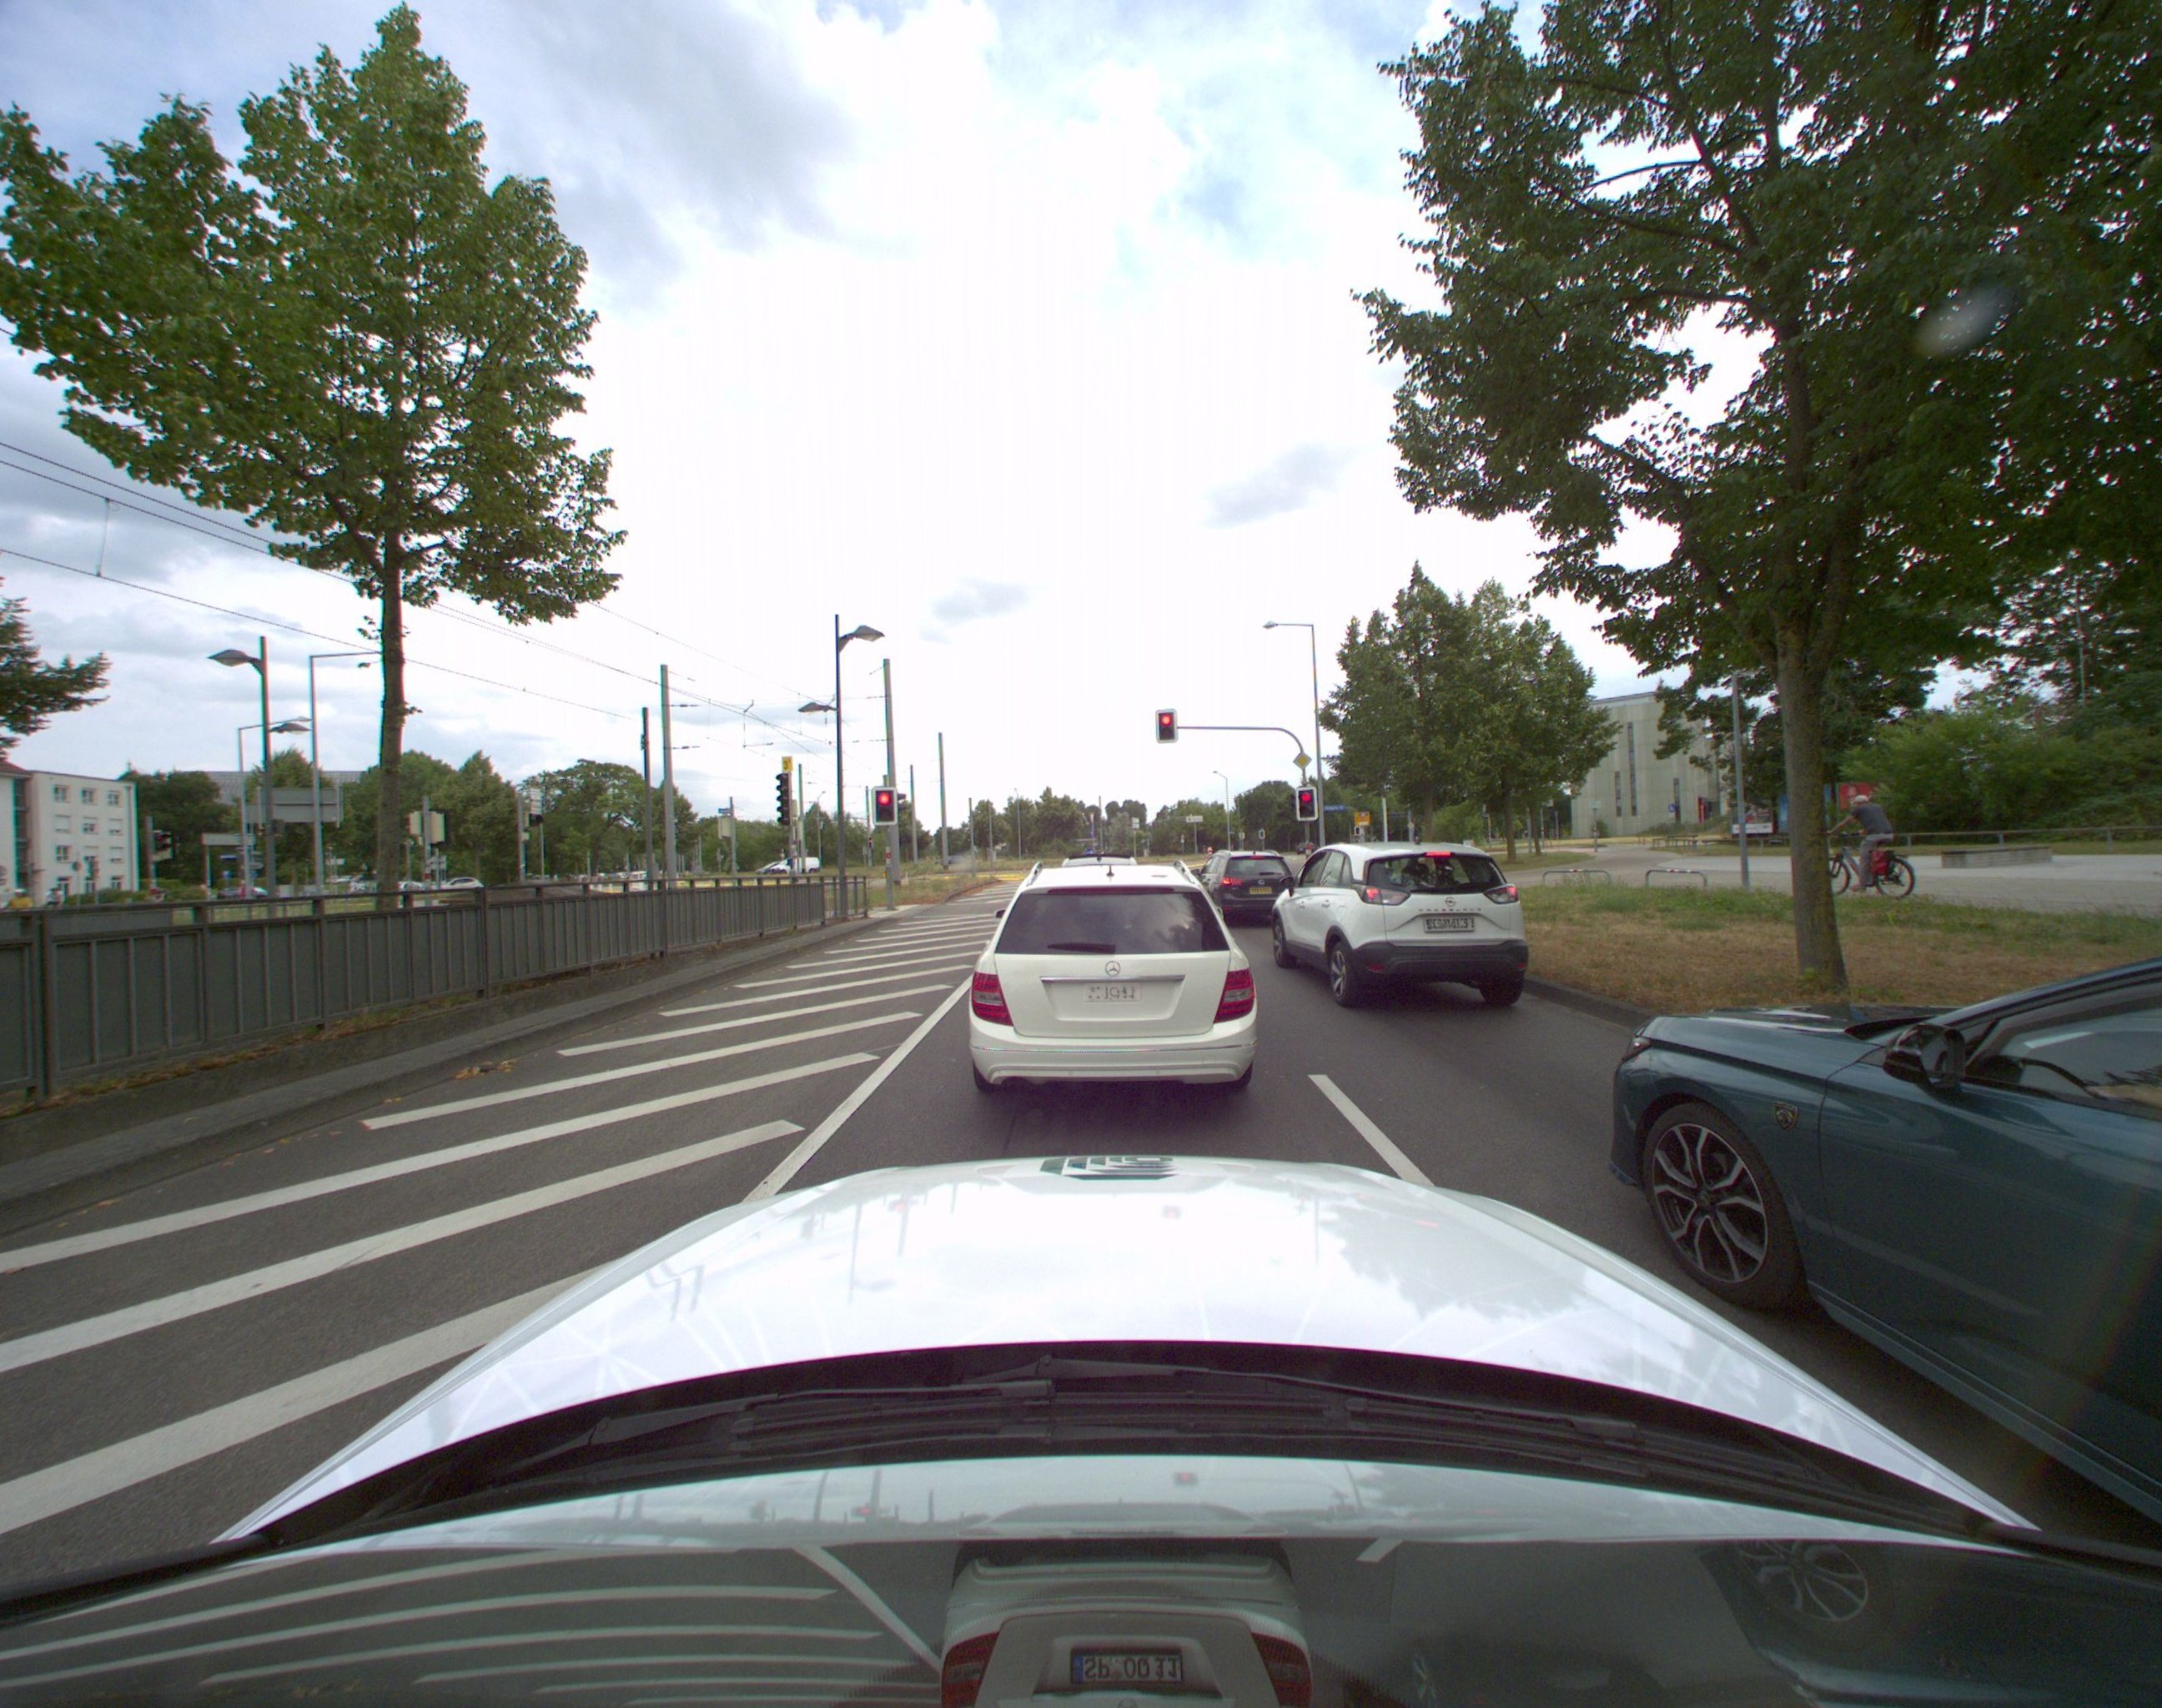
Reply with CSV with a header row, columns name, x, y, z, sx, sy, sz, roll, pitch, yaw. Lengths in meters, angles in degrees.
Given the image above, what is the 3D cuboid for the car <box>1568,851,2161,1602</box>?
name,x,y,z,sx,sy,sz,roll,pitch,yaw
car,2.997,0.731,1.302,1.782,1.432,4.308,-1,0,-1

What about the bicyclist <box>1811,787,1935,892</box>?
name,x,y,z,sx,sy,sz,roll,pitch,yaw
bicyclist,14.150,-0.252,14.588,0.993,1.737,1.129,-5,0,0

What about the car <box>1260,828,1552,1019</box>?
name,x,y,z,sx,sy,sz,roll,pitch,yaw
car,3.303,0.605,9.154,1.780,1.624,3.912,-2,0,2

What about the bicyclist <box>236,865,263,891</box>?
name,x,y,z,sx,sy,sz,roll,pitch,yaw
bicyclist,-52.631,1.521,51.531,0.889,1.562,0.748,-2,0,-10

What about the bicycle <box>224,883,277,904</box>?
name,x,y,z,sx,sy,sz,roll,pitch,yaw
bicycle,-52.608,2.487,51.622,0.806,1.129,2.702,-2,0,-6

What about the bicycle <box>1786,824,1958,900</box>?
name,x,y,z,sx,sy,sz,roll,pitch,yaw
bicycle,14.199,0.130,14.744,0.899,1.235,2.268,-2,0,0

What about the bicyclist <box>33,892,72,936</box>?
name,x,y,z,sx,sy,sz,roll,pitch,yaw
bicyclist,-44.676,2.580,35.388,0.835,1.834,0.775,-2,0,-36

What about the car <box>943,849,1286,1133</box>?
name,x,y,z,sx,sy,sz,roll,pitch,yaw
car,0.179,0.702,6.196,1.768,1.448,3.910,-1,0,0

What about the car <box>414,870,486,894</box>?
name,x,y,z,sx,sy,sz,roll,pitch,yaw
car,-49.881,2.211,64.459,1.974,1.641,4.026,-2,0,33

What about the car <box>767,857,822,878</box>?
name,x,y,z,sx,sy,sz,roll,pitch,yaw
car,-30.302,1.421,86.131,5.027,2.013,1.976,-2,0,-42

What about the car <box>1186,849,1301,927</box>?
name,x,y,z,sx,sy,sz,roll,pitch,yaw
car,3.294,0.624,17.194,1.619,1.448,3.910,-1,0,0

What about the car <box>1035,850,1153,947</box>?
name,x,y,z,sx,sy,sz,roll,pitch,yaw
car,0.203,0.665,14.274,1.768,1.448,3.910,-1,0,0

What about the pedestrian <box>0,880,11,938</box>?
name,x,y,z,sx,sy,sz,roll,pitch,yaw
pedestrian,-34.403,1.749,25.680,0.652,1.850,0.486,-2,0,-36

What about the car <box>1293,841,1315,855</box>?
name,x,y,z,sx,sy,sz,roll,pitch,yaw
car,28.715,-0.741,104.856,1.975,1.791,4.024,0,0,27

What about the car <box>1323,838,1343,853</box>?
name,x,y,z,sx,sy,sz,roll,pitch,yaw
car,29.805,-1.039,96.424,1.771,1.636,4.416,-2,0,11
